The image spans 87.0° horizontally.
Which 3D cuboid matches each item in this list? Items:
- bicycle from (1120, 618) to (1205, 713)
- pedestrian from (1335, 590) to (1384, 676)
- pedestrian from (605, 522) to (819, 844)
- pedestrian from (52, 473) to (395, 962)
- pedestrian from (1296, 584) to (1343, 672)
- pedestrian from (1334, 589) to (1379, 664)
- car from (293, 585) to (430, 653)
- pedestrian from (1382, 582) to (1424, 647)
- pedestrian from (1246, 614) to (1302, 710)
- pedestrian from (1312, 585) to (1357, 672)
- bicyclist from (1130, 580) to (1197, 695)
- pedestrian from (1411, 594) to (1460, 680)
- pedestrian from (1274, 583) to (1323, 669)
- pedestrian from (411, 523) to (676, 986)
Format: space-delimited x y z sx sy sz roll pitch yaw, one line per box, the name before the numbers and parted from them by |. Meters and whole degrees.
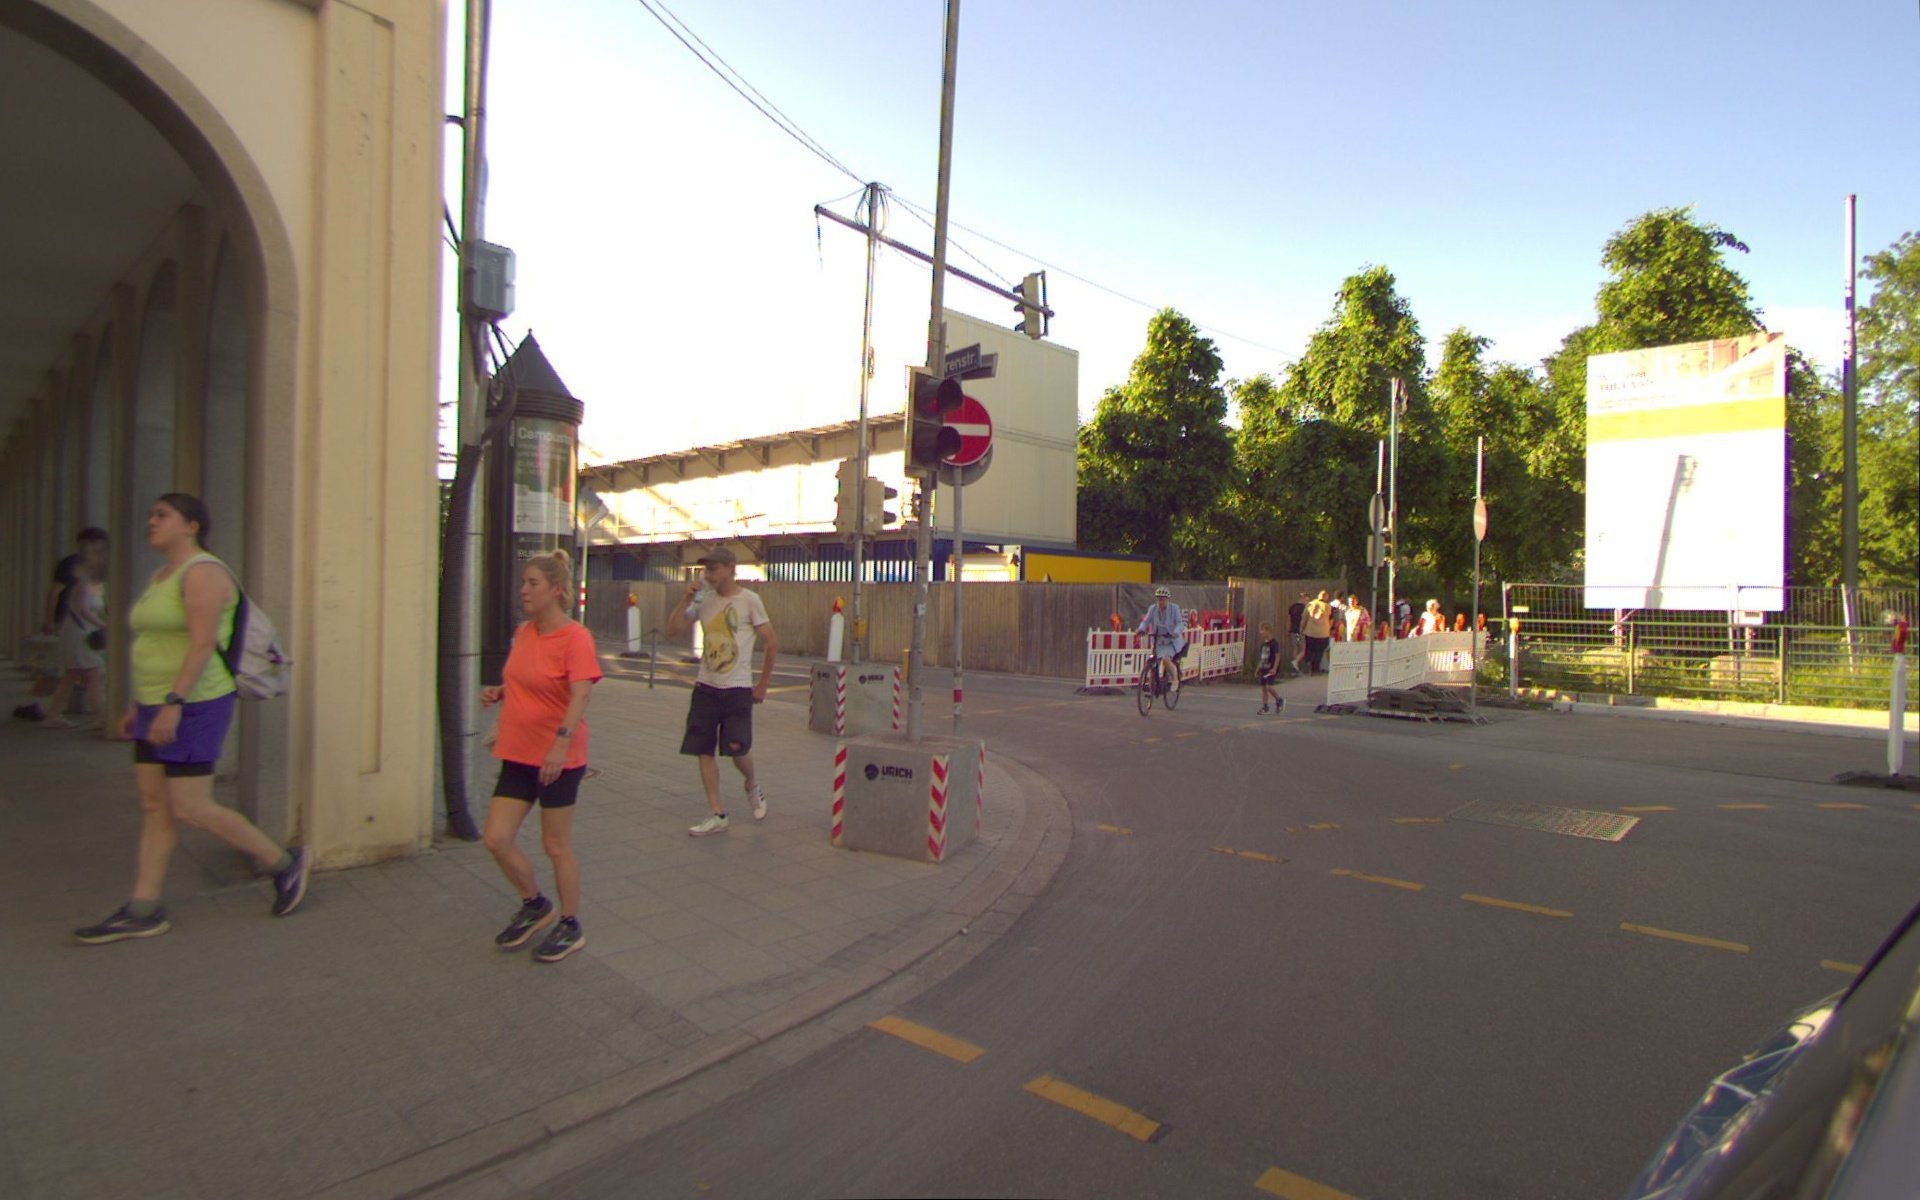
bicycle | 2.851 0.866 14.087 0.473 1.216 1.975 1 0 32
pedestrian | 7.844 0.620 19.851 0.642 1.624 0.727 2 2 45
pedestrian | -1.490 0.447 6.129 0.795 1.750 0.963 1 0 41
pedestrian | -2.997 0.404 4.148 0.673 1.731 0.953 5 2 41
pedestrian | 7.333 0.551 20.637 0.620 1.737 0.727 2 2 45
pedestrian | 8.916 0.585 22.766 0.664 1.639 0.758 2 2 45
car | -14.262 0.466 24.037 1.898 1.485 3.989 3 -3 -44
pedestrian | 10.407 0.320 23.760 0.664 1.480 0.758 2 2 45
pedestrian | 4.470 0.878 14.391 0.492 1.316 0.610 2 -2 44
pedestrian | 7.918 0.586 21.370 0.620 1.793 0.727 2 2 45
bicyclist | 2.835 0.509 14.068 0.681 1.535 0.695 1 -1 34
pedestrian | 9.101 0.683 19.373 0.663 1.585 0.734 2 2 41
pedestrian | 7.256 0.535 21.680 0.721 1.793 0.727 2 2 45
pedestrian | -1.669 0.544 4.072 0.618 1.644 0.716 5 2 41
